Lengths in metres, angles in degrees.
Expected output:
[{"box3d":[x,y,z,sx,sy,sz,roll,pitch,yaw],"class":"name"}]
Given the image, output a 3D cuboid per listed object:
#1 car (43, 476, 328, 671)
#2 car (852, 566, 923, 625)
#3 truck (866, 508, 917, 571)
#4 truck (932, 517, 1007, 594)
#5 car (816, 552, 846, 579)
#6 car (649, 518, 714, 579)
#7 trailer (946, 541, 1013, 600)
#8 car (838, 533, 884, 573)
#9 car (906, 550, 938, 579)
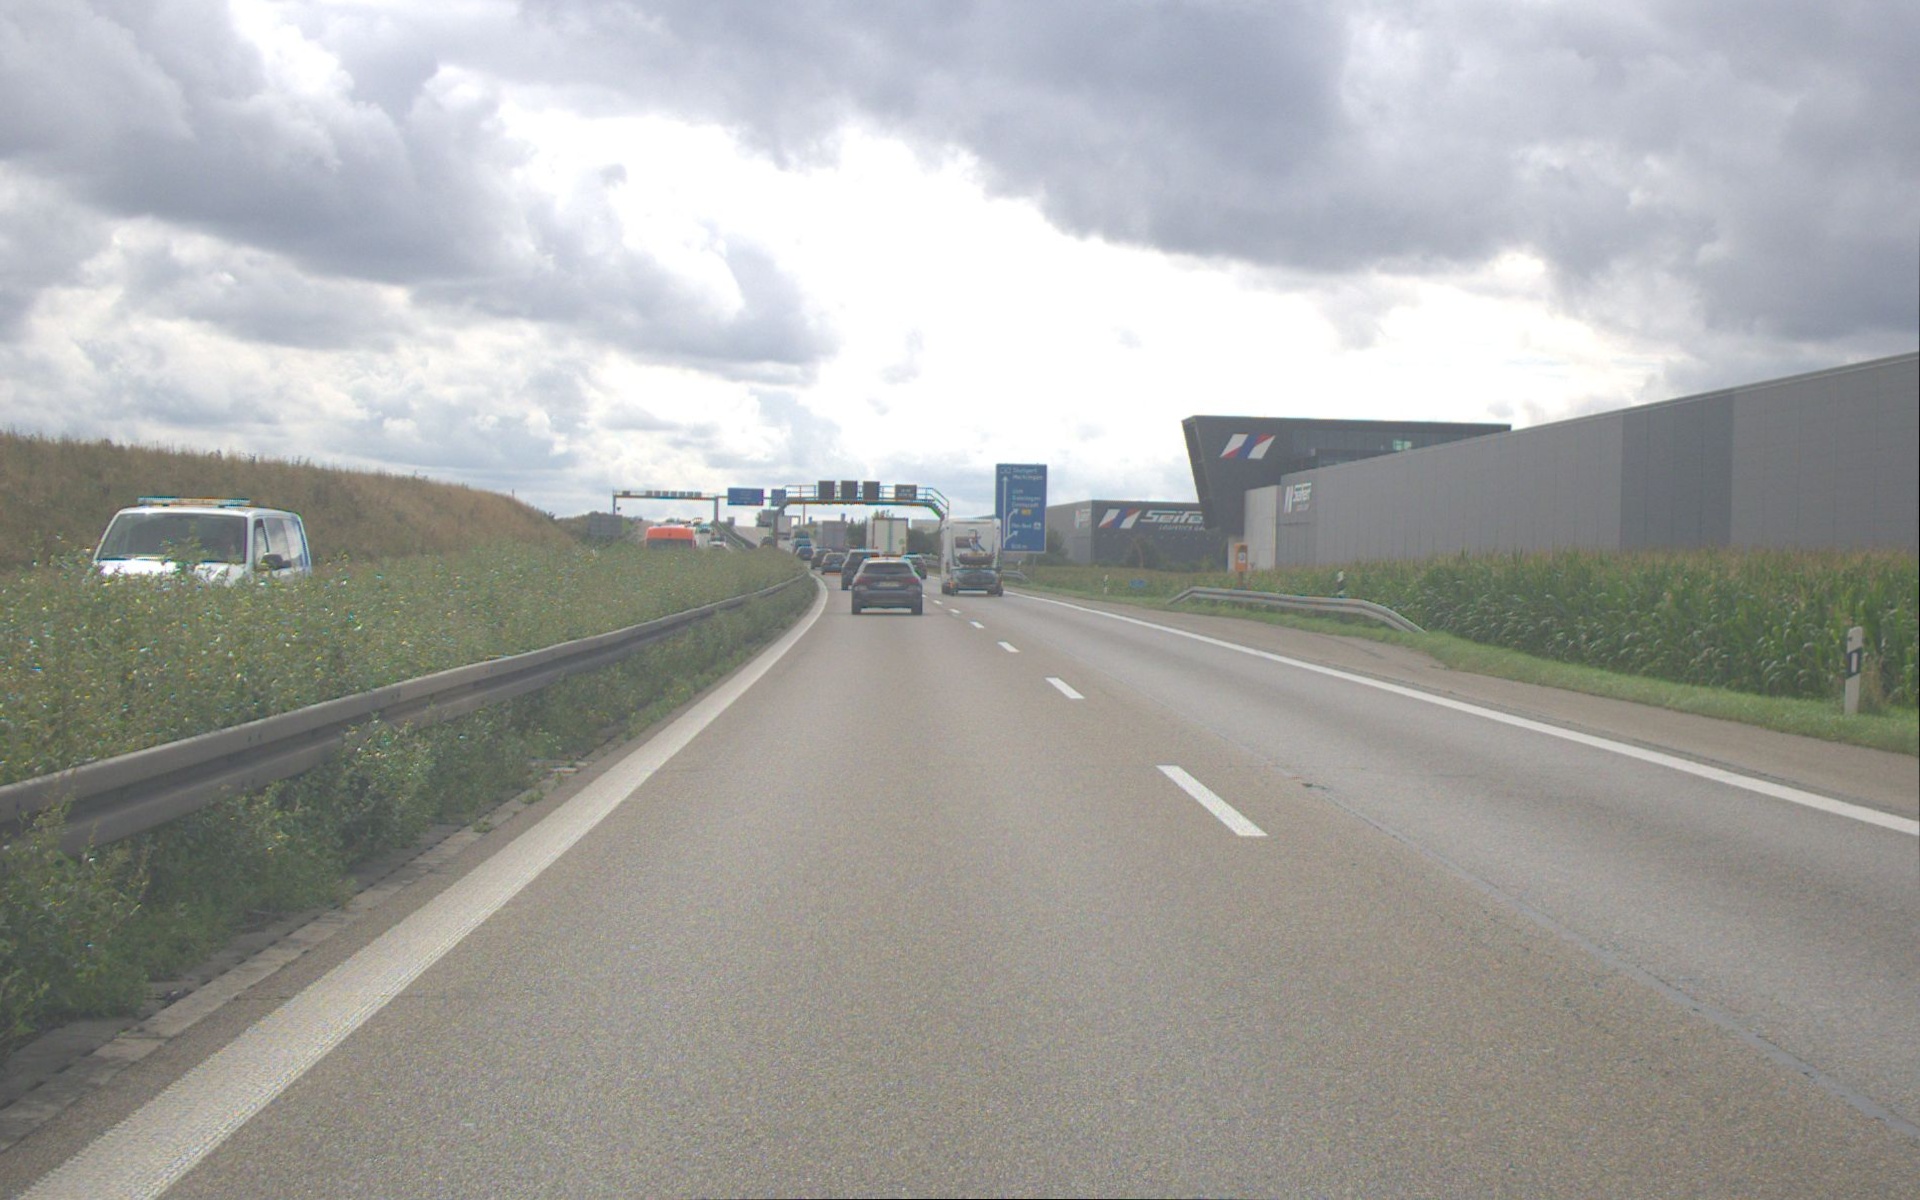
[{"box3d":[-8.634,-0.301,38.816,1.993,2.007,5.532,1,0,-1],"class":"car"},{"box3d":[-1.873,-0.121,87.908,1.746,1.448,4.000,1,0,-2],"class":"car"},{"box3d":[-5.127,-4.448,254.902,3.339,4.519,8.018,1,0,-4],"class":"truck"},{"box3d":[0.348,-1.738,135.284,2.481,2.940,5.816,1,0,-4],"class":"truck"},{"box3d":[-8.689,-2.338,231.467,1.943,1.769,3.696,1,0,-2],"class":"car"},{"box3d":[-10.746,-1.982,132.858,2.124,2.259,5.453,1,0,-1],"class":"car"},{"box3d":[0.702,-1.088,128.399,2.338,2.129,4.000,1,0,-2],"class":"trailer"},{"box3d":[-4.280,-2.019,148.898,1.945,1.679,4.000,1,0,-2],"class":"car"},{"box3d":[-2.297,-2.170,207.236,1.801,1.679,4.001,1,1,-2],"class":"car"}]
